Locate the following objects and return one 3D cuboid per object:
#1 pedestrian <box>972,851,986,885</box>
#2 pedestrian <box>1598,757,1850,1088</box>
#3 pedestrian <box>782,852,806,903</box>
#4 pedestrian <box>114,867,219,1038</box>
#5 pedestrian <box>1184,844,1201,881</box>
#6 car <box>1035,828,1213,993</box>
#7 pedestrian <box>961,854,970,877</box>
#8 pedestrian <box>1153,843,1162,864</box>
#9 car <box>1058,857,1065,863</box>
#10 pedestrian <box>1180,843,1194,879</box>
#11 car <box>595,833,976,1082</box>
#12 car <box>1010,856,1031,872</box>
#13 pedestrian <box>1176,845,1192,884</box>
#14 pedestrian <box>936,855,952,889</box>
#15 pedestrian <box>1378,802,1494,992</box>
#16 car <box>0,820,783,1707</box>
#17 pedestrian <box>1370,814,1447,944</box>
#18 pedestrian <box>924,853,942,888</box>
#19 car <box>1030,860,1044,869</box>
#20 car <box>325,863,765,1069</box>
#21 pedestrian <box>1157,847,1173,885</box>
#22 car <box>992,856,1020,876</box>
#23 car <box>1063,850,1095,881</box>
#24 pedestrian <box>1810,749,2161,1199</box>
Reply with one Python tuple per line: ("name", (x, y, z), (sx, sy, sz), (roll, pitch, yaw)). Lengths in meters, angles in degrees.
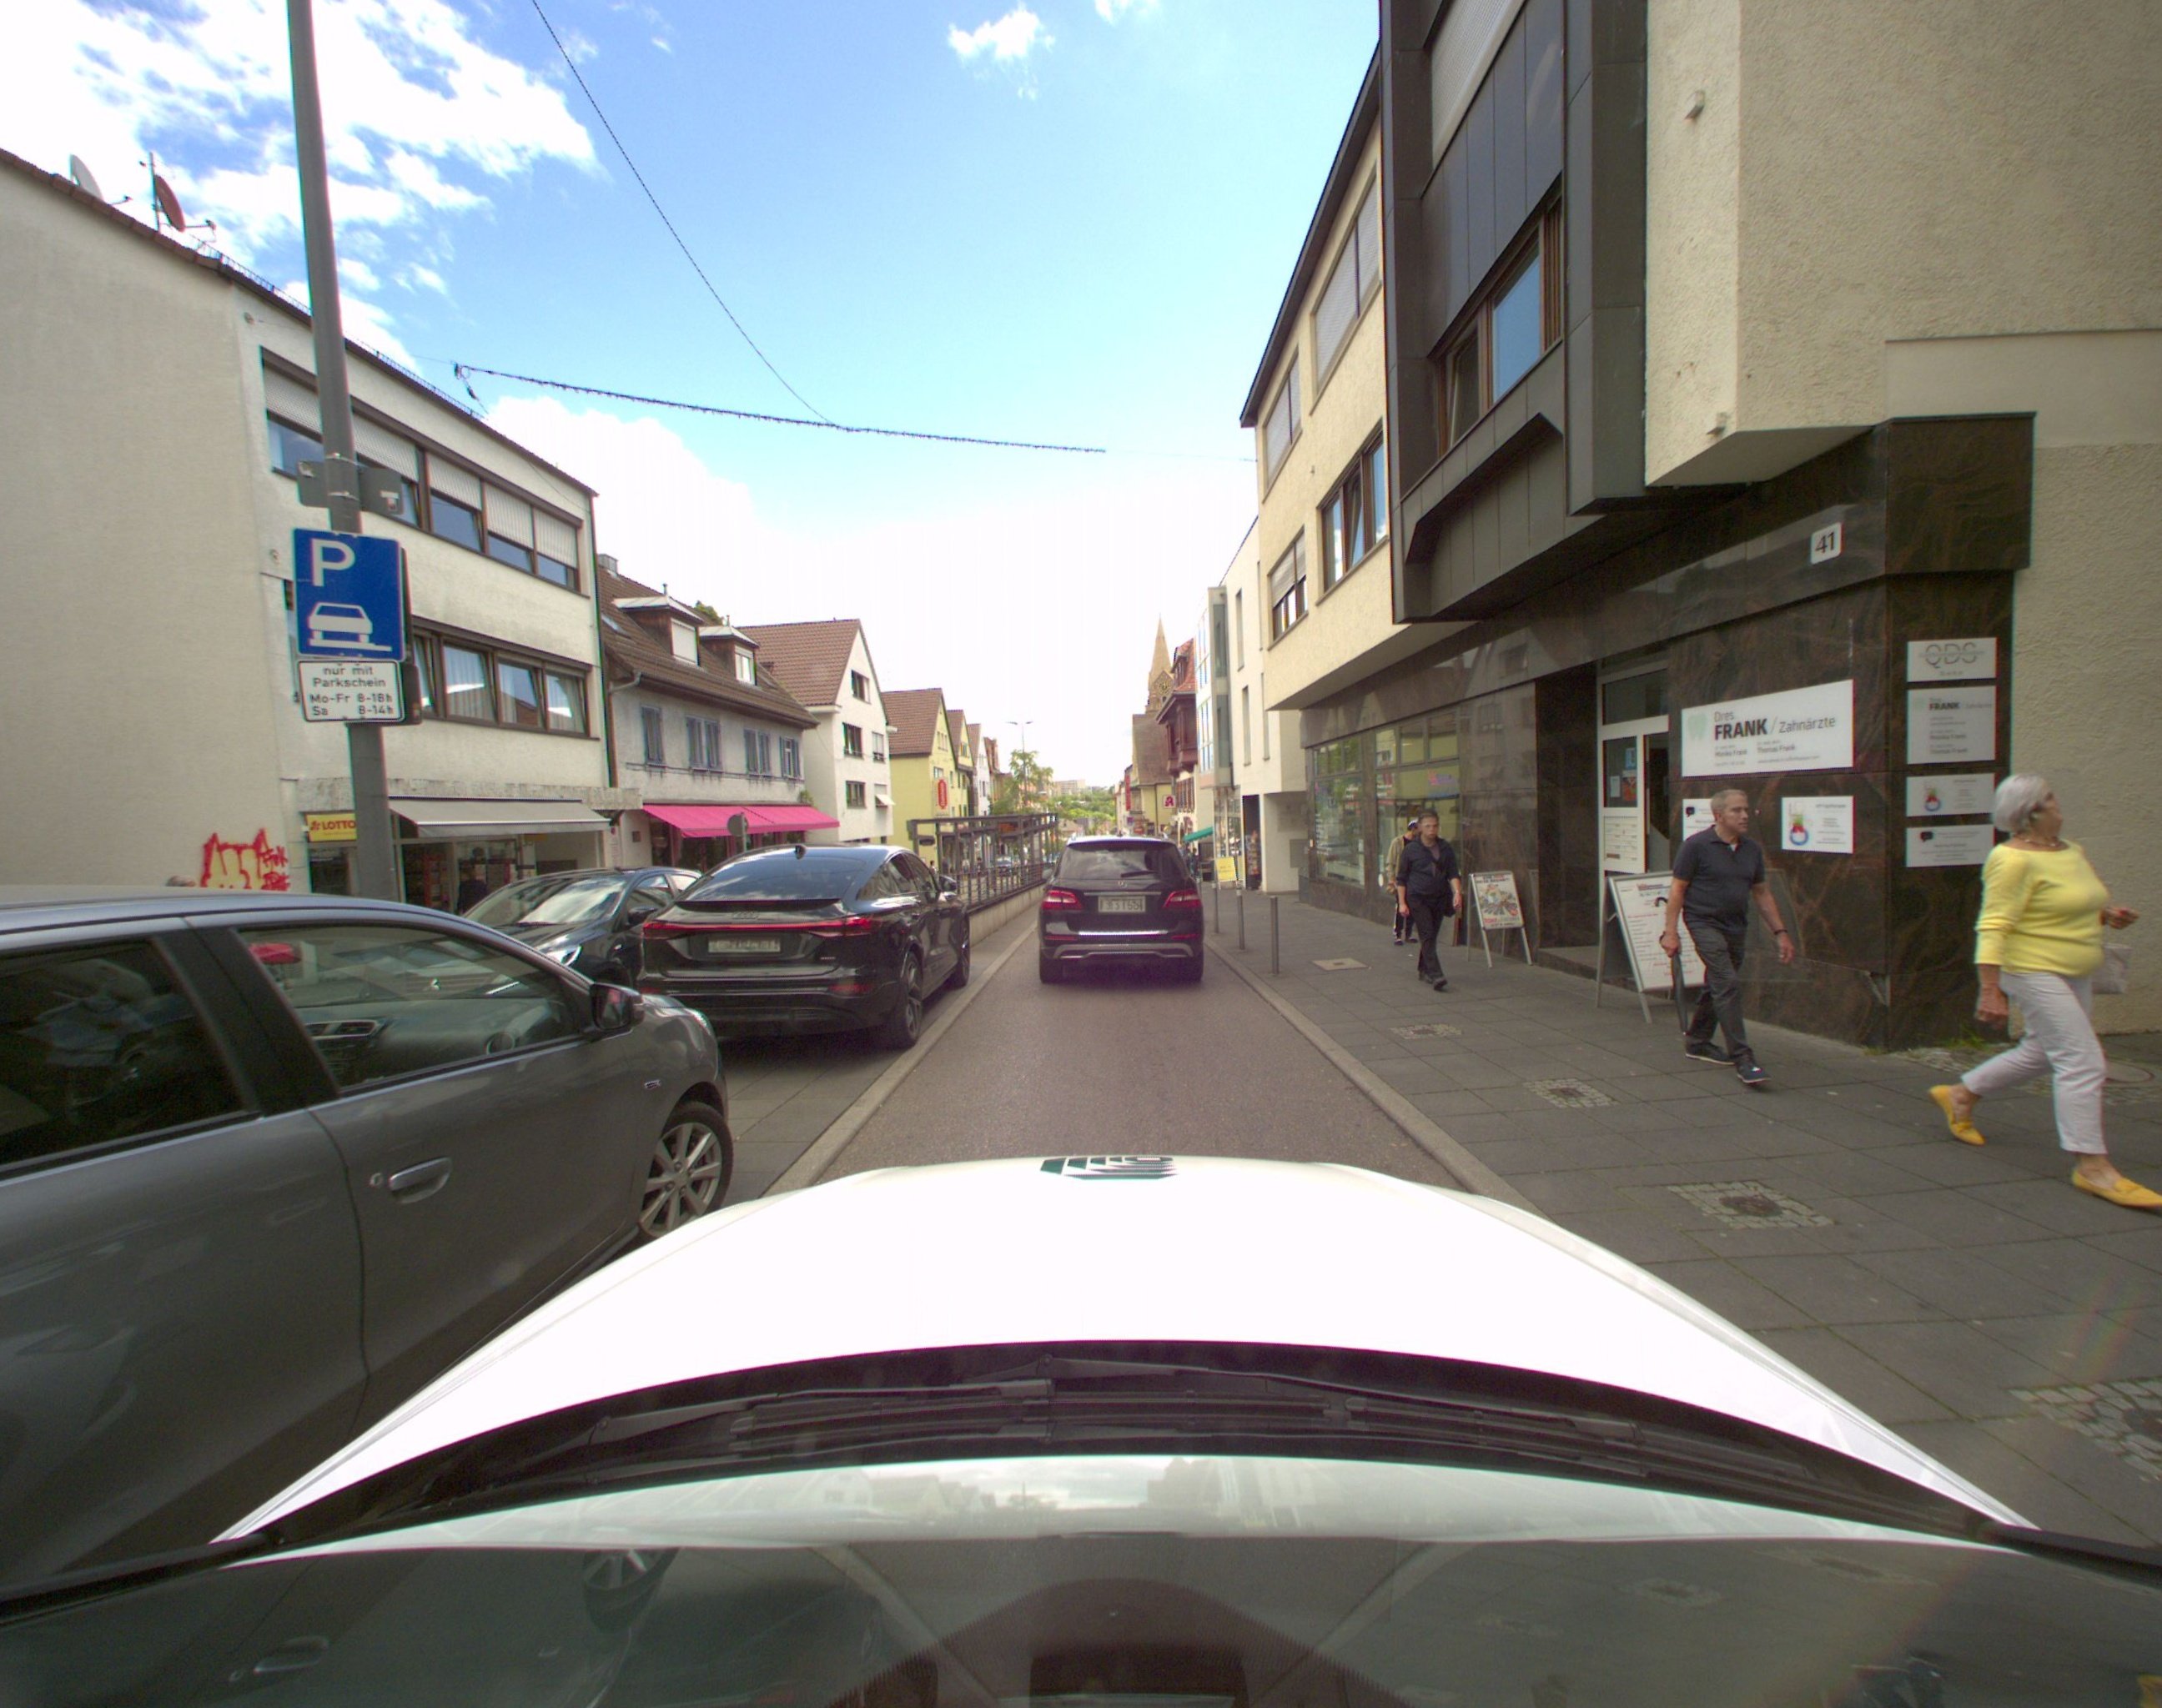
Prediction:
("pedestrian", (-5.165, 0.716, 41.171), (0.623, 1.689, 0.679), (0, 0, 1))
("pedestrian", (3.783, 0.373, 4.870), (0.708, 1.753, 0.785), (-6, 0, 1))
("pedestrian", (-9.549, 0.779, 27.090), (0.576, 1.689, 0.577), (0, 0, 0))
("pedestrian", (-9.694, 1.005, 8.642), (0.638, 1.689, 0.670), (-2, 1, 41))
("pedestrian", (5.220, 0.407, 38.164), (0.572, 1.689, 0.565), (-3, 0, -5))
("car", (0.450, 0.600, 10.675), (1.895, 1.747, 3.999), (0, 0, 0))
("pedestrian", (-8.279, 0.825, 58.304), (0.511, 1.689, 0.541), (0, 0, 1))
("pedestrian", (6.264, -0.042, 66.301), (0.604, 1.688, 0.724), (-3, 0, 1))
("car", (-4.307, 1.318, 177.264), (1.383, 1.070, 3.114), (-3, 0, 2))
("pedestrian", (5.097, 0.324, 39.125), (0.572, 1.689, 0.565), (0, 0, -5))
("car", (-2.250, 0.689, 7.598), (1.950, 1.639, 4.314), (-1, 0, 0))
("car", (-5.999, 0.987, 80.761), (1.654, 1.490, 3.749), (0, 0, 2))
("pedestrian", (4.645, 0.456, 36.840), (0.541, 1.726, 0.527), (-3, 0, -5))
("pedestrian", (-6.888, 0.893, 41.009), (0.617, 1.689, 0.556), (0, 0, -39))
("pedestrian", (3.510, 0.406, 8.121), (0.708, 1.753, 0.787), (-4, 0, 1))
("car", (-2.276, 0.729, 2.055), (1.614, 1.532, 3.671), (-1, 0, 1))
("pedestrian", (4.491, 0.335, 11.201), (0.662, 1.689, 0.542), (-6, 0, -5))
("pedestrian", (-7.204, 0.795, 39.776), (0.722, 1.689, 0.768), (0, 0, 1))
("car", (-5.590, 1.281, 103.562), (1.383, 1.070, 3.114), (-3, 0, 2))
("car", (-4.767, 0.861, 8.036), (1.733, 1.475, 3.884), (-1, 0, 0))
("pedestrian", (3.797, 0.532, 36.888), (0.620, 1.689, 0.565), (0, 0, -5))
("car", (-5.843, 0.896, 63.840), (1.683, 1.490, 3.980), (0, 0, 2))
("car", (-0.063, 0.640, 46.664), (1.764, 1.713, 4.001), (0, 0, 1))
("pedestrian", (3.865, 0.438, 3.440), (0.708, 1.631, 0.835), (-5, 0, 1))
